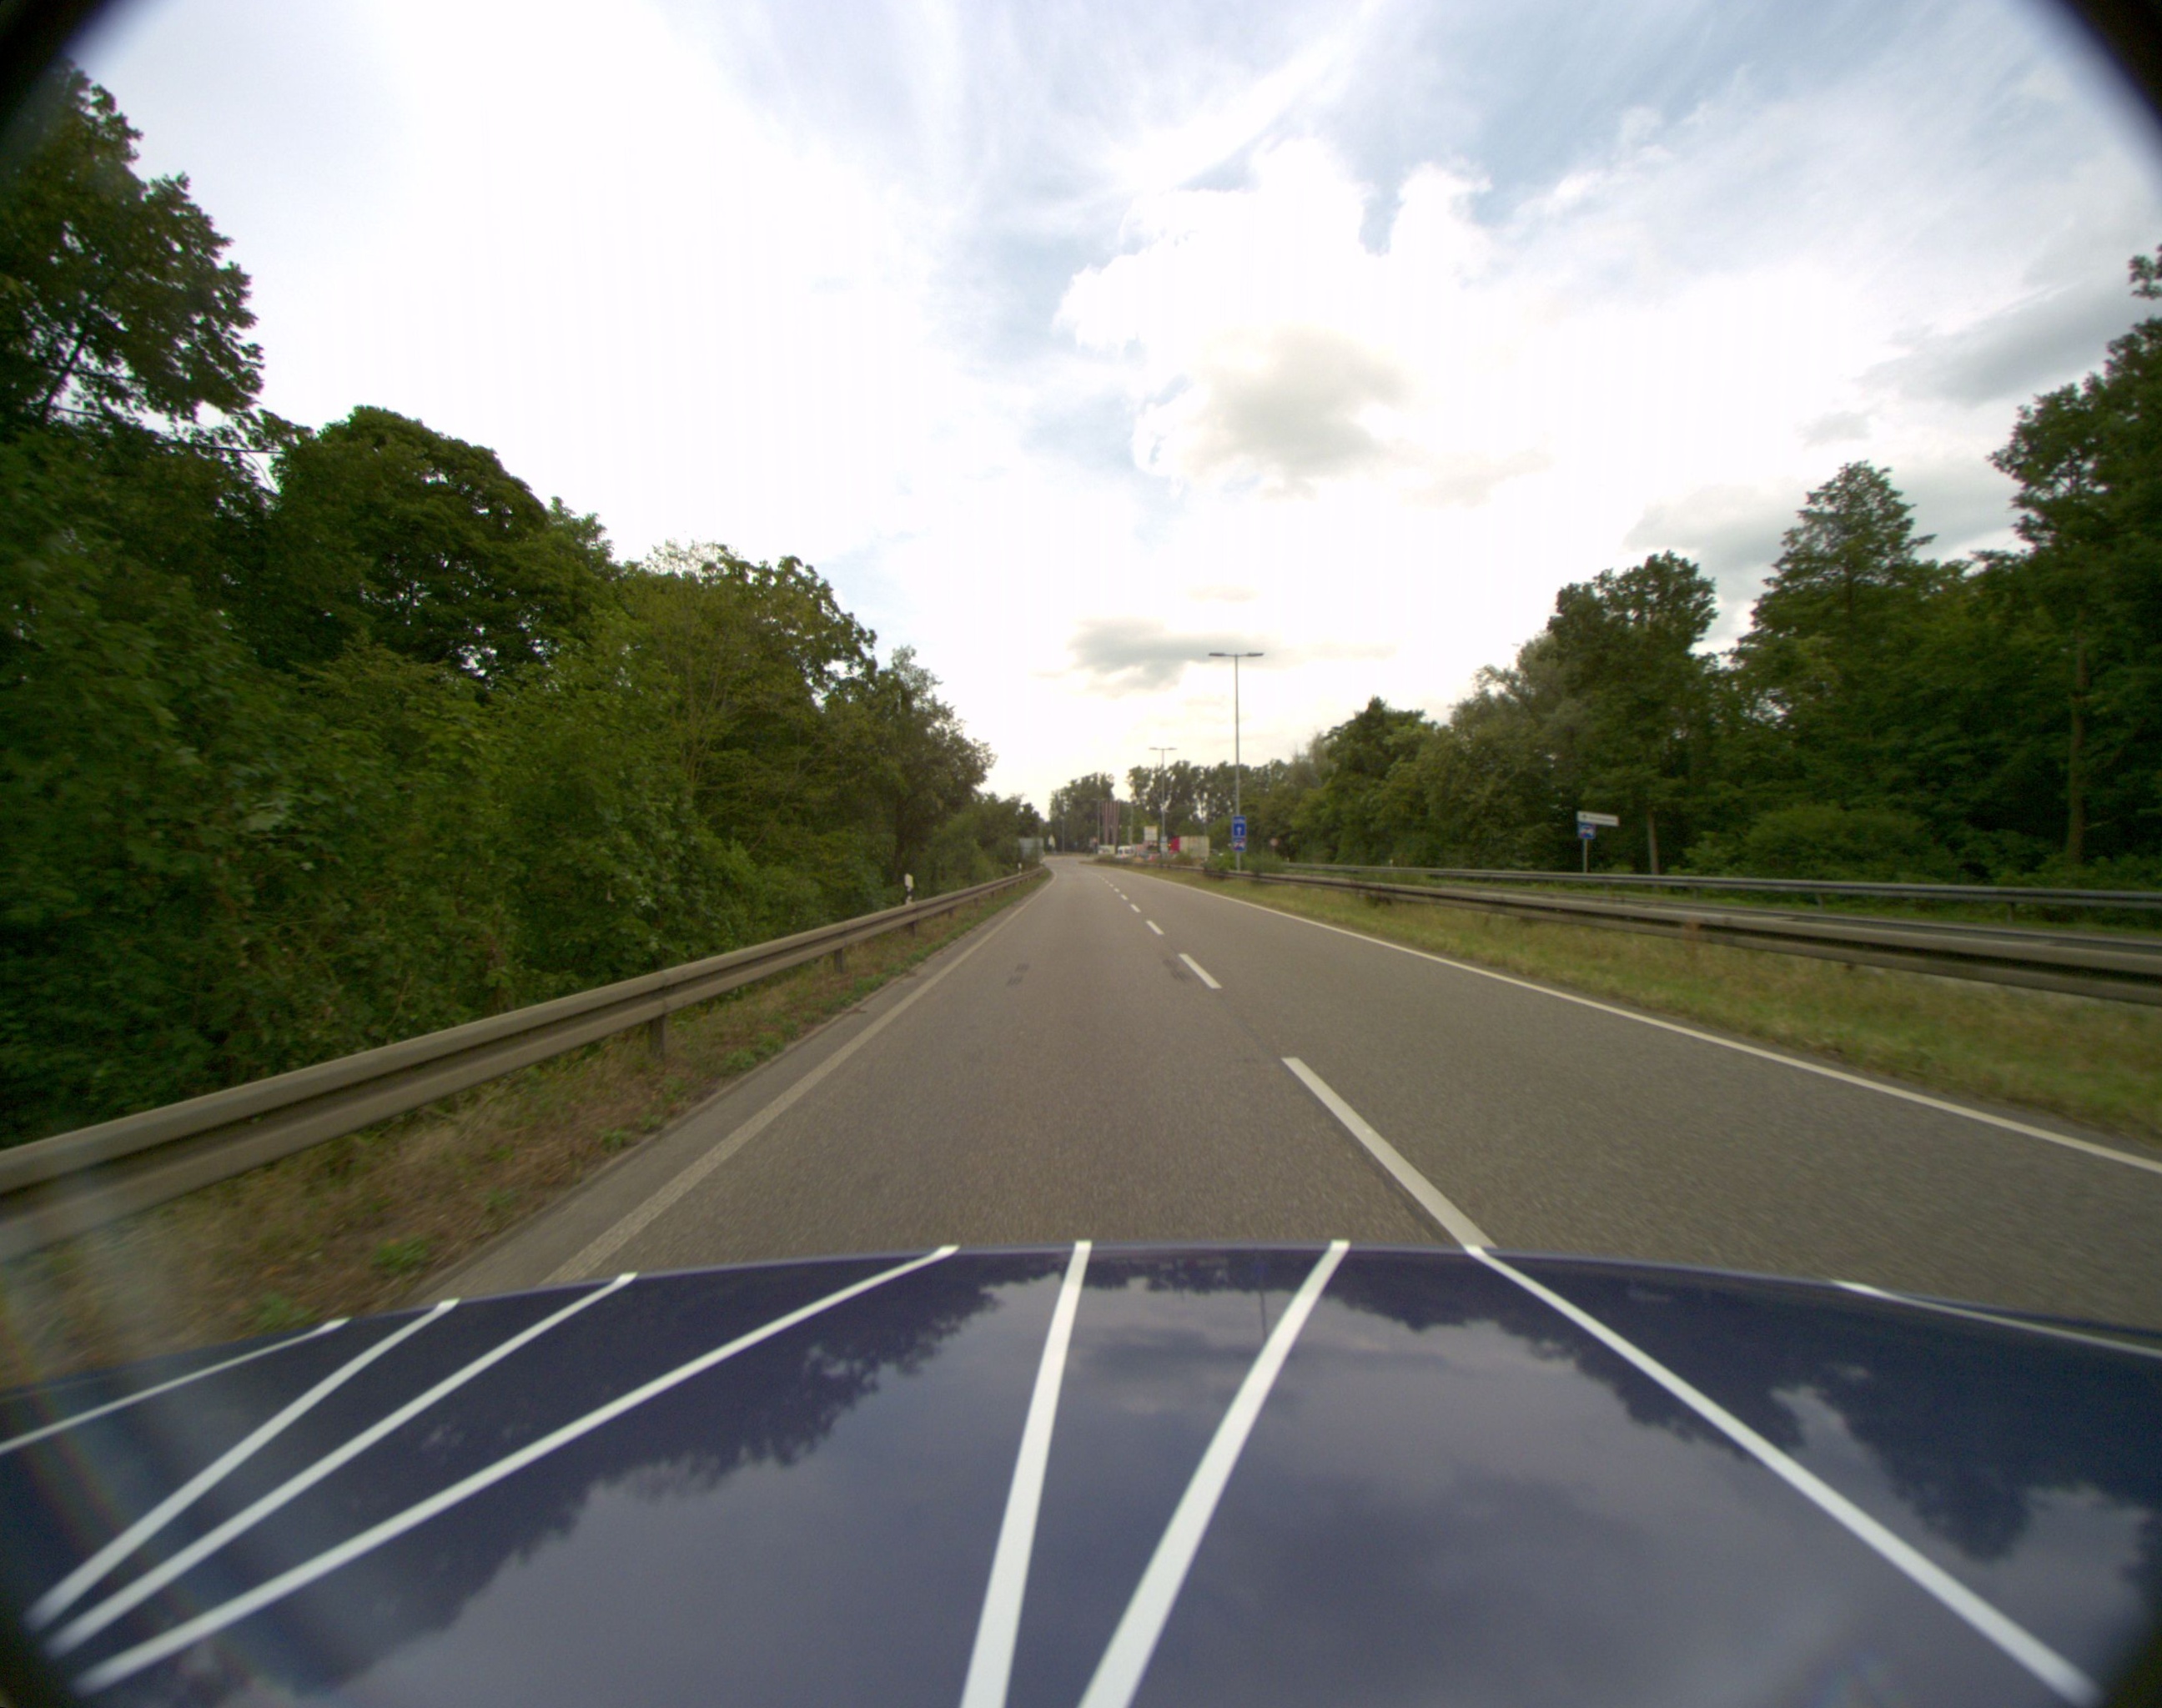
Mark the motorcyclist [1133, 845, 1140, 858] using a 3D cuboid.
[{"bbox_3d":[8.208,-0.396,112.880,0.868,1.813,0.924,-1,2,-9],"label":"motorcyclist"}]

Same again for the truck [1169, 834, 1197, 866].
[{"bbox_3d":[13.232,-0.553,99.019,2.575,4.060,5.620,-1,1,-3],"label":"truck"}]

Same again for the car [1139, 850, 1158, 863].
[{"bbox_3d":[9.617,0.269,108.813,1.809,1.719,4.957,-1,1,-6],"label":"car"}]

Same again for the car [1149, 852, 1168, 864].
[{"bbox_3d":[10.477,0.493,102.839,1.809,1.424,4.123,-1,1,-4],"label":"car"}]

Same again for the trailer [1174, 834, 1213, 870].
[{"bbox_3d":[13.567,-0.369,92.604,2.542,4.124,10.766,-1,1,-3],"label":"trailer"}]

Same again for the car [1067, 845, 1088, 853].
[{"bbox_3d":[-0.756,-1.047,164.301,4.249,1.773,1.929,-1,2,16],"label":"car"}]

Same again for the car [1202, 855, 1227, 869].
[{"bbox_3d":[14.072,0.833,80.232,1.824,1.281,3.998,-1,1,-1],"label":"car"}]

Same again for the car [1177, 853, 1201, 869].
[{"bbox_3d":[10.931,0.661,76.828,1.772,1.498,3.938,-1,1,-1],"label":"car"}]

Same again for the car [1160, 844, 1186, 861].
[{"bbox_3d":[10.451,-0.195,86.577,2.015,1.853,5.275,-1,1,-3],"label":"car"}]

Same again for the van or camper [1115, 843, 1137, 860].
[{"bbox_3d":[7.359,-0.406,124.383,2.167,2.574,6.488,-1,1,-10],"label":"van or camper"}]
